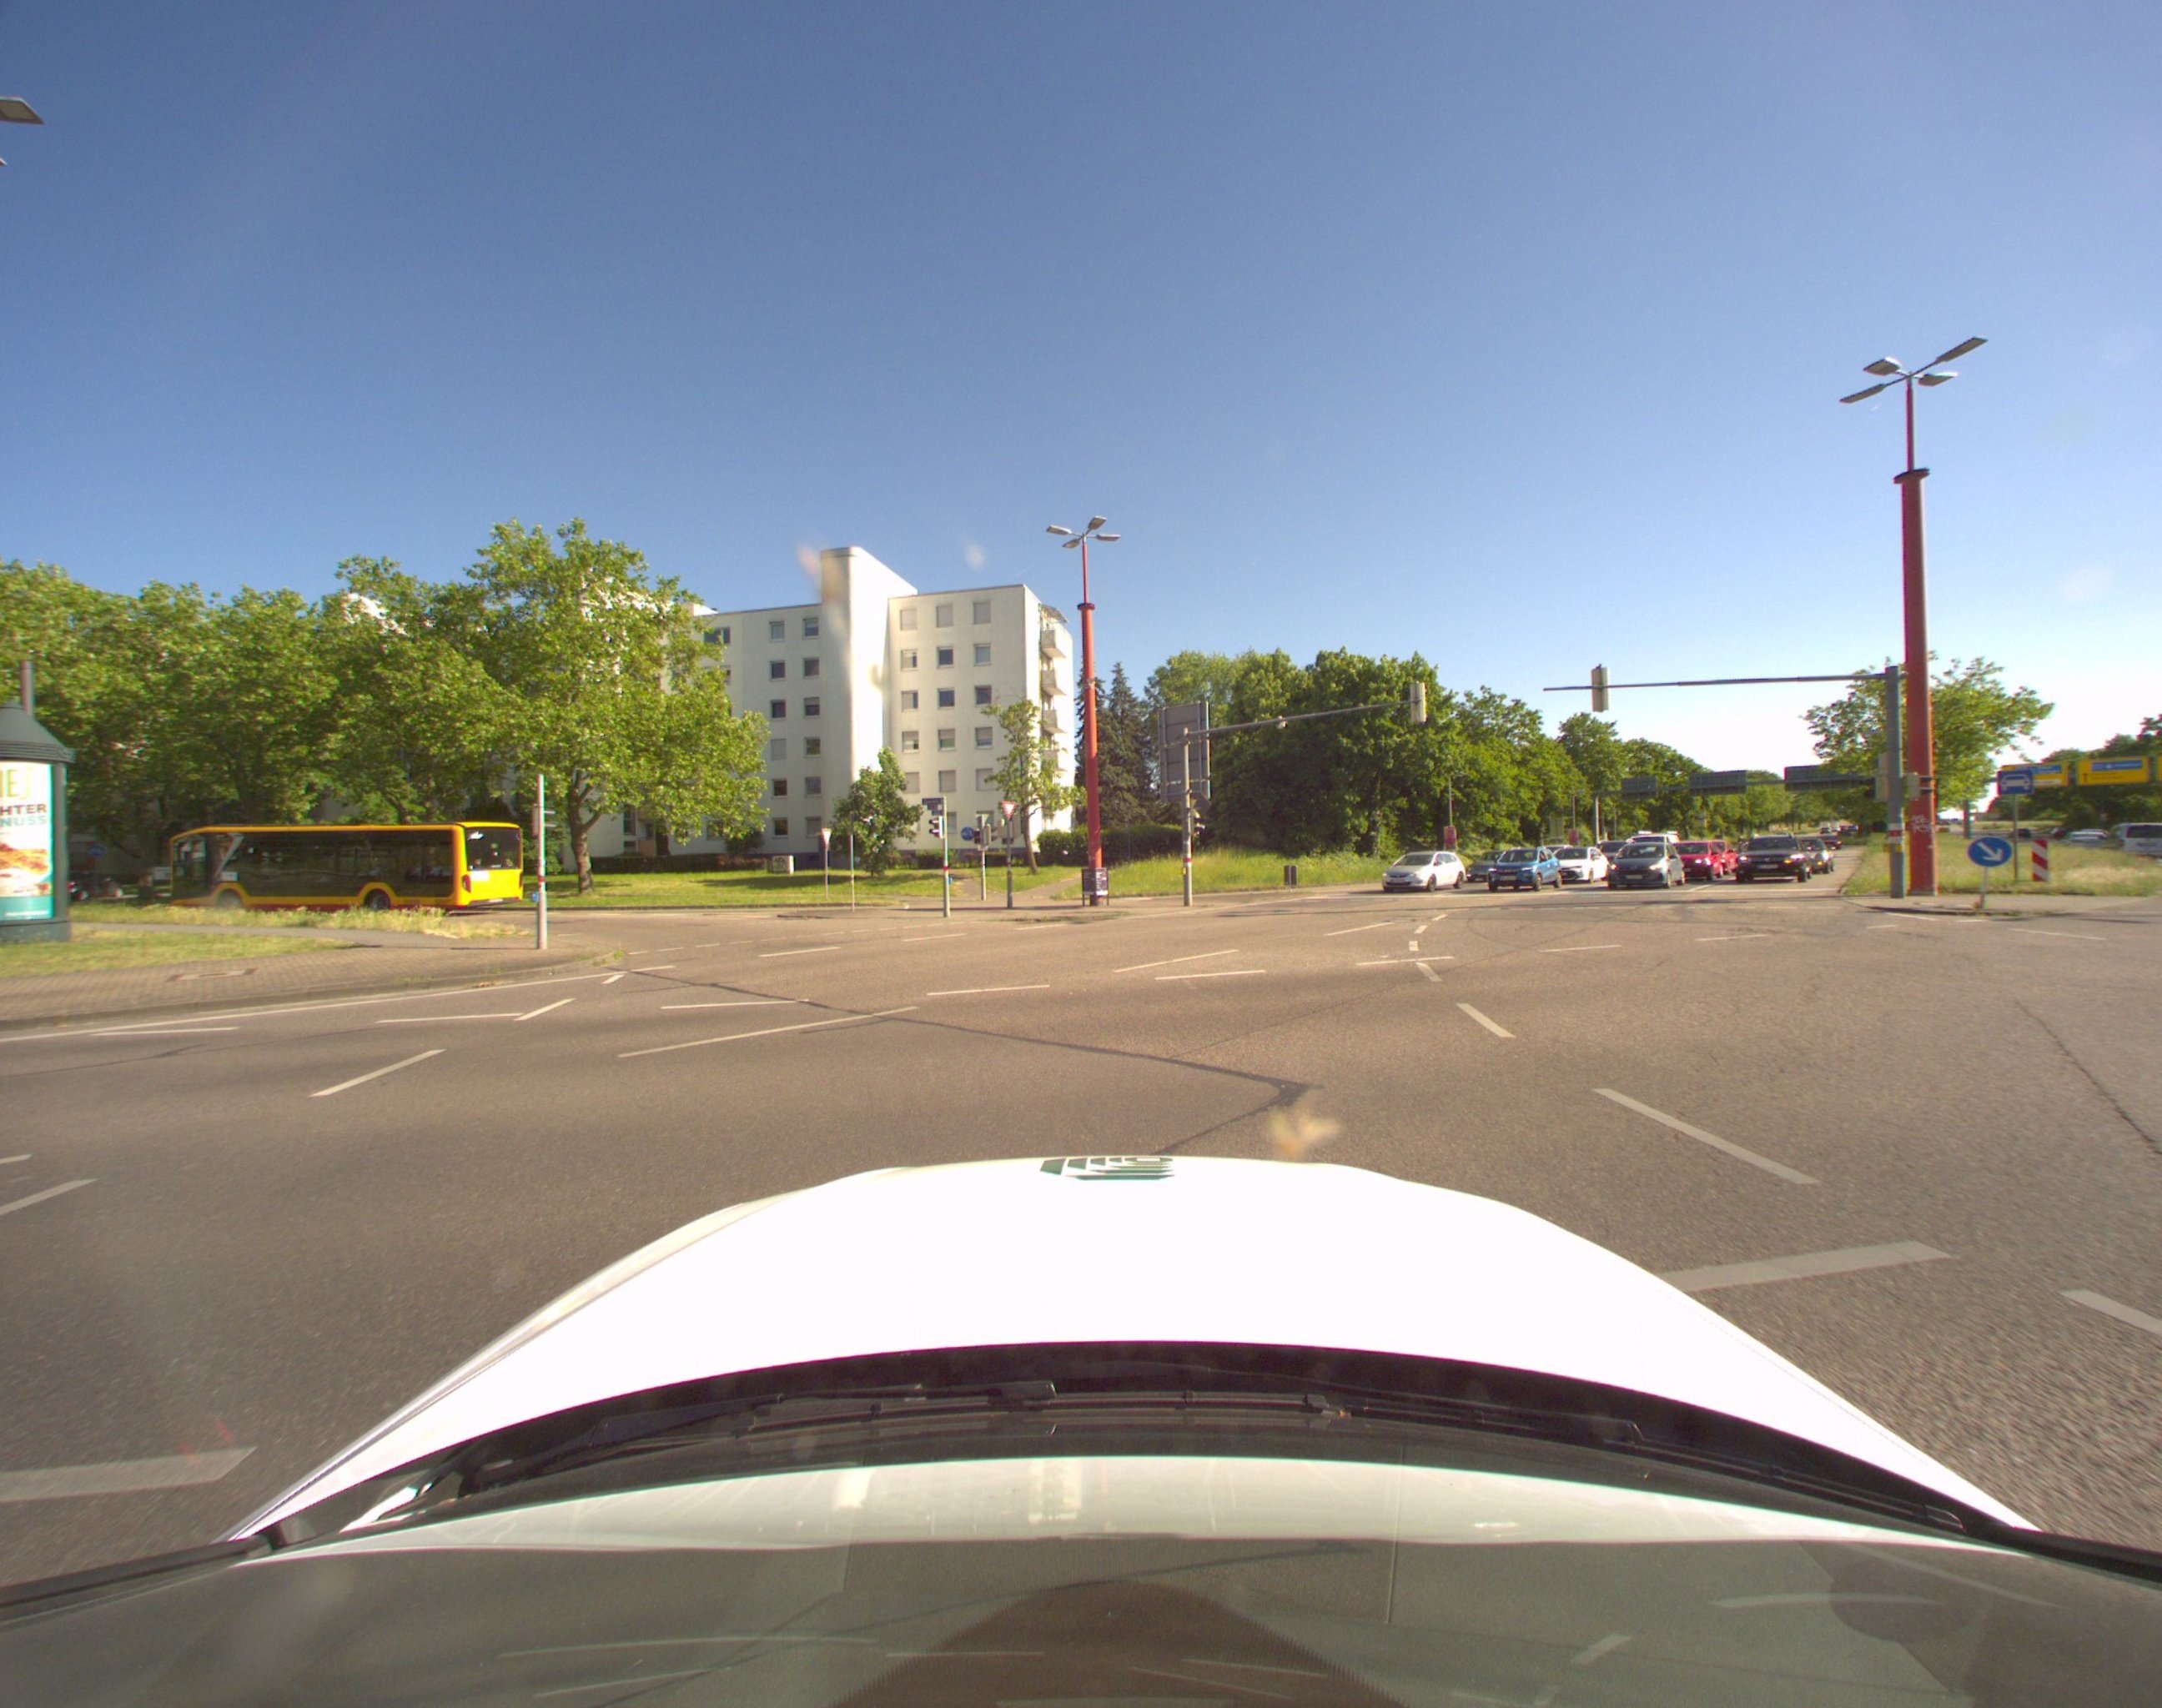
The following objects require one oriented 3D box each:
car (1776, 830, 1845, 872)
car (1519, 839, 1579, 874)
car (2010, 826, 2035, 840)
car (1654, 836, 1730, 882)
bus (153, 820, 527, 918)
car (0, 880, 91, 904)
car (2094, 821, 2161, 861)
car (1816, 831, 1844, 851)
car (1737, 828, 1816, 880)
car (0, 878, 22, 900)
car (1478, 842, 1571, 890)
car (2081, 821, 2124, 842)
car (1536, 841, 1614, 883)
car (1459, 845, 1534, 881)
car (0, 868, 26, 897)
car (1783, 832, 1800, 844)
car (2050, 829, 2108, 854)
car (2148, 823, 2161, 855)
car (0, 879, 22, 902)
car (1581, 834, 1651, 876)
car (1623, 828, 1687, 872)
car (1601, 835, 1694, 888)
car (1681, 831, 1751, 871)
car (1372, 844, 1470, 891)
[{"bbox_3d":[29.361,-0.146,32.745,1.868,1.543,4.024,-3,-1,44],"label":"car"},{"bbox_3d":[24.179,0.159,42.041,1.761,1.652,3.998,-4,-3,42],"label":"car"},{"bbox_3d":[130.983,-2.952,113.289,1.914,1.846,3.984,-1,0,44],"label":"car"},{"bbox_3d":[23.452,0.163,31.205,1.857,1.552,4.024,-5,-3,43],"label":"car"},{"bbox_3d":[-26.659,0.488,29.401,12.422,3.261,2.661,0,1,8],"label":"bus"},{"bbox_3d":[-55.481,1.989,43.295,3.346,1.134,1.312,0,1,-27],"label":"car"},{"bbox_3d":[50.968,-0.617,39.387,1.787,1.821,4.614,0,0,43],"label":"car"},{"bbox_3d":[72.525,-1.298,78.857,1.897,1.846,3.985,-1,0,42],"label":"car"},{"bbox_3d":[23.730,-0.020,27.733,1.776,1.626,4.168,-3,-1,43],"label":"car"},{"bbox_3d":[-61.277,1.977,44.822,3.413,1.147,1.296,-1,1,-29],"label":"car"},{"bbox_3d":[15.527,0.404,28.430,1.784,1.515,3.882,-3,-1,44],"label":"car"},{"bbox_3d":[83.532,-1.805,66.610,1.700,1.608,3.870,0,1,44],"label":"car"},{"bbox_3d":[19.920,0.294,32.787,1.883,1.555,4.024,-3,-1,42],"label":"car"},{"bbox_3d":[19.252,0.392,37.665,1.867,1.513,4.024,-3,-1,45],"label":"car"},{"bbox_3d":[-63.441,1.655,46.251,3.946,1.592,1.646,0,1,-24],"label":"car"},{"bbox_3d":[117.084,-2.695,134.207,1.897,1.846,3.984,-1,0,44],"label":"car"},{"bbox_3d":[62.659,-0.794,51.195,1.788,1.493,4.710,1,1,45],"label":"car"},{"bbox_3d":[65.468,-0.933,48.406,1.788,1.852,5.133,-2,0,45],"label":"car"},{"bbox_3d":[-59.178,1.990,43.268,3.284,1.157,1.348,0,1,-28],"label":"car"},{"bbox_3d":[24.578,0.032,37.361,4.023,1.784,1.857,-2,0,-44],"label":"car"},{"bbox_3d":[29.775,-0.238,42.206,1.943,2.155,5.112,-2,0,44],"label":"car"},{"bbox_3d":[18.745,0.229,26.893,1.856,1.550,4.052,-4,-1,44],"label":"car"},{"bbox_3d":[27.712,-0.138,35.475,4.023,1.630,1.884,-1,0,-45],"label":"car"},{"bbox_3d":[12.854,0.492,30.671,4.243,1.652,1.860,-1,-1,-45],"label":"car"}]
